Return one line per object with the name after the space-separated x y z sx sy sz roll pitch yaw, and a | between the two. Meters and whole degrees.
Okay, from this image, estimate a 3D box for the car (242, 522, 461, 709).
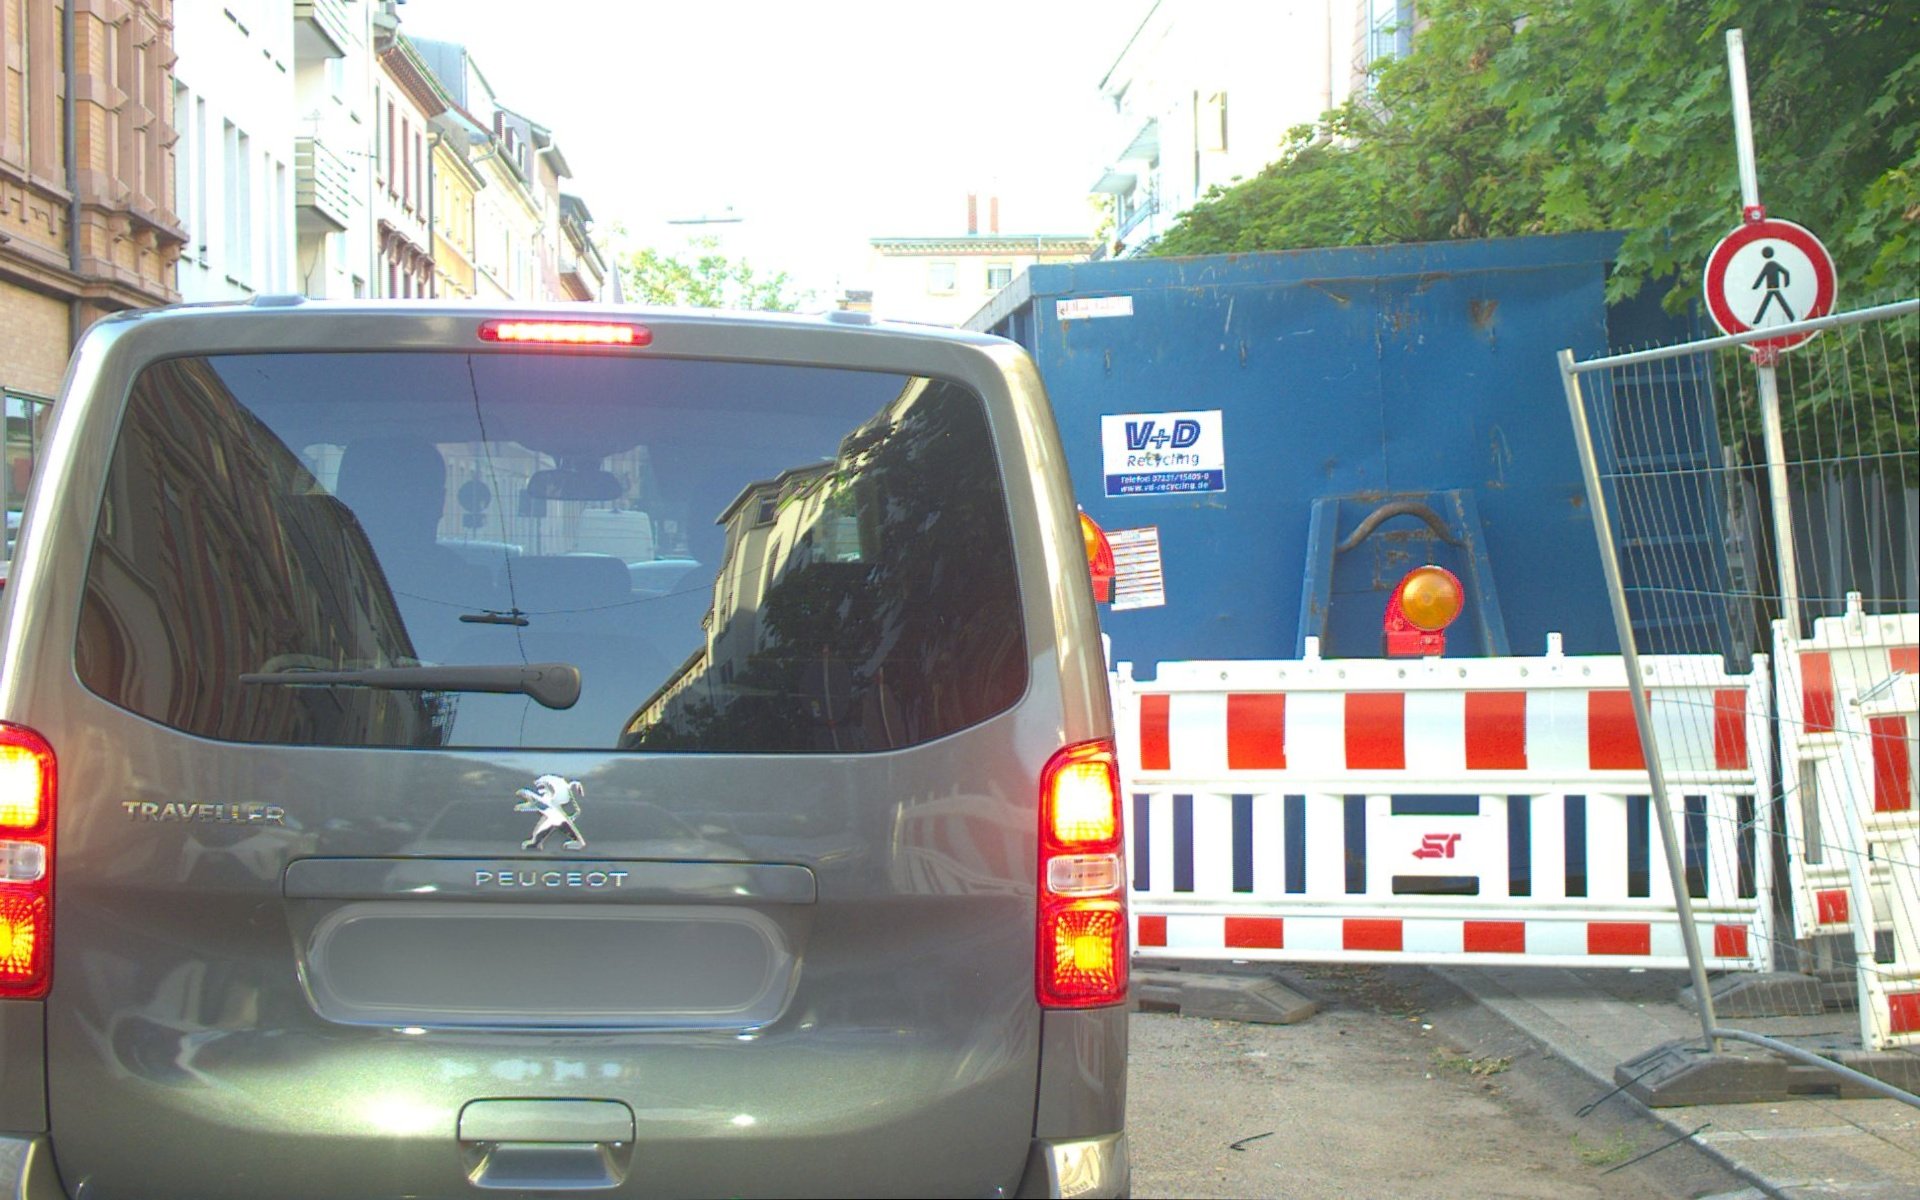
-6.259 0.142 35.710 1.891 1.714 3.755 4 0 -6 | car

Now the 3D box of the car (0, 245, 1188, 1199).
-0.843 0.440 6.899 1.865 1.880 4.236 0 0 -6 | car

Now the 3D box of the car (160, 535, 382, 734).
-6.371 0.299 32.065 1.666 1.660 3.092 4 0 -6 | car

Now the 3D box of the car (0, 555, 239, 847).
-5.181 0.502 19.674 1.655 1.455 3.419 4 0 -6 | car

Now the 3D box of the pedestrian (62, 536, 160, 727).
-7.523 0.271 30.488 0.739 1.659 0.704 -1 1 -7 | pedestrian

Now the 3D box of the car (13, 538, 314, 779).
-5.710 0.387 24.983 1.655 1.520 3.419 4 0 -6 | car
